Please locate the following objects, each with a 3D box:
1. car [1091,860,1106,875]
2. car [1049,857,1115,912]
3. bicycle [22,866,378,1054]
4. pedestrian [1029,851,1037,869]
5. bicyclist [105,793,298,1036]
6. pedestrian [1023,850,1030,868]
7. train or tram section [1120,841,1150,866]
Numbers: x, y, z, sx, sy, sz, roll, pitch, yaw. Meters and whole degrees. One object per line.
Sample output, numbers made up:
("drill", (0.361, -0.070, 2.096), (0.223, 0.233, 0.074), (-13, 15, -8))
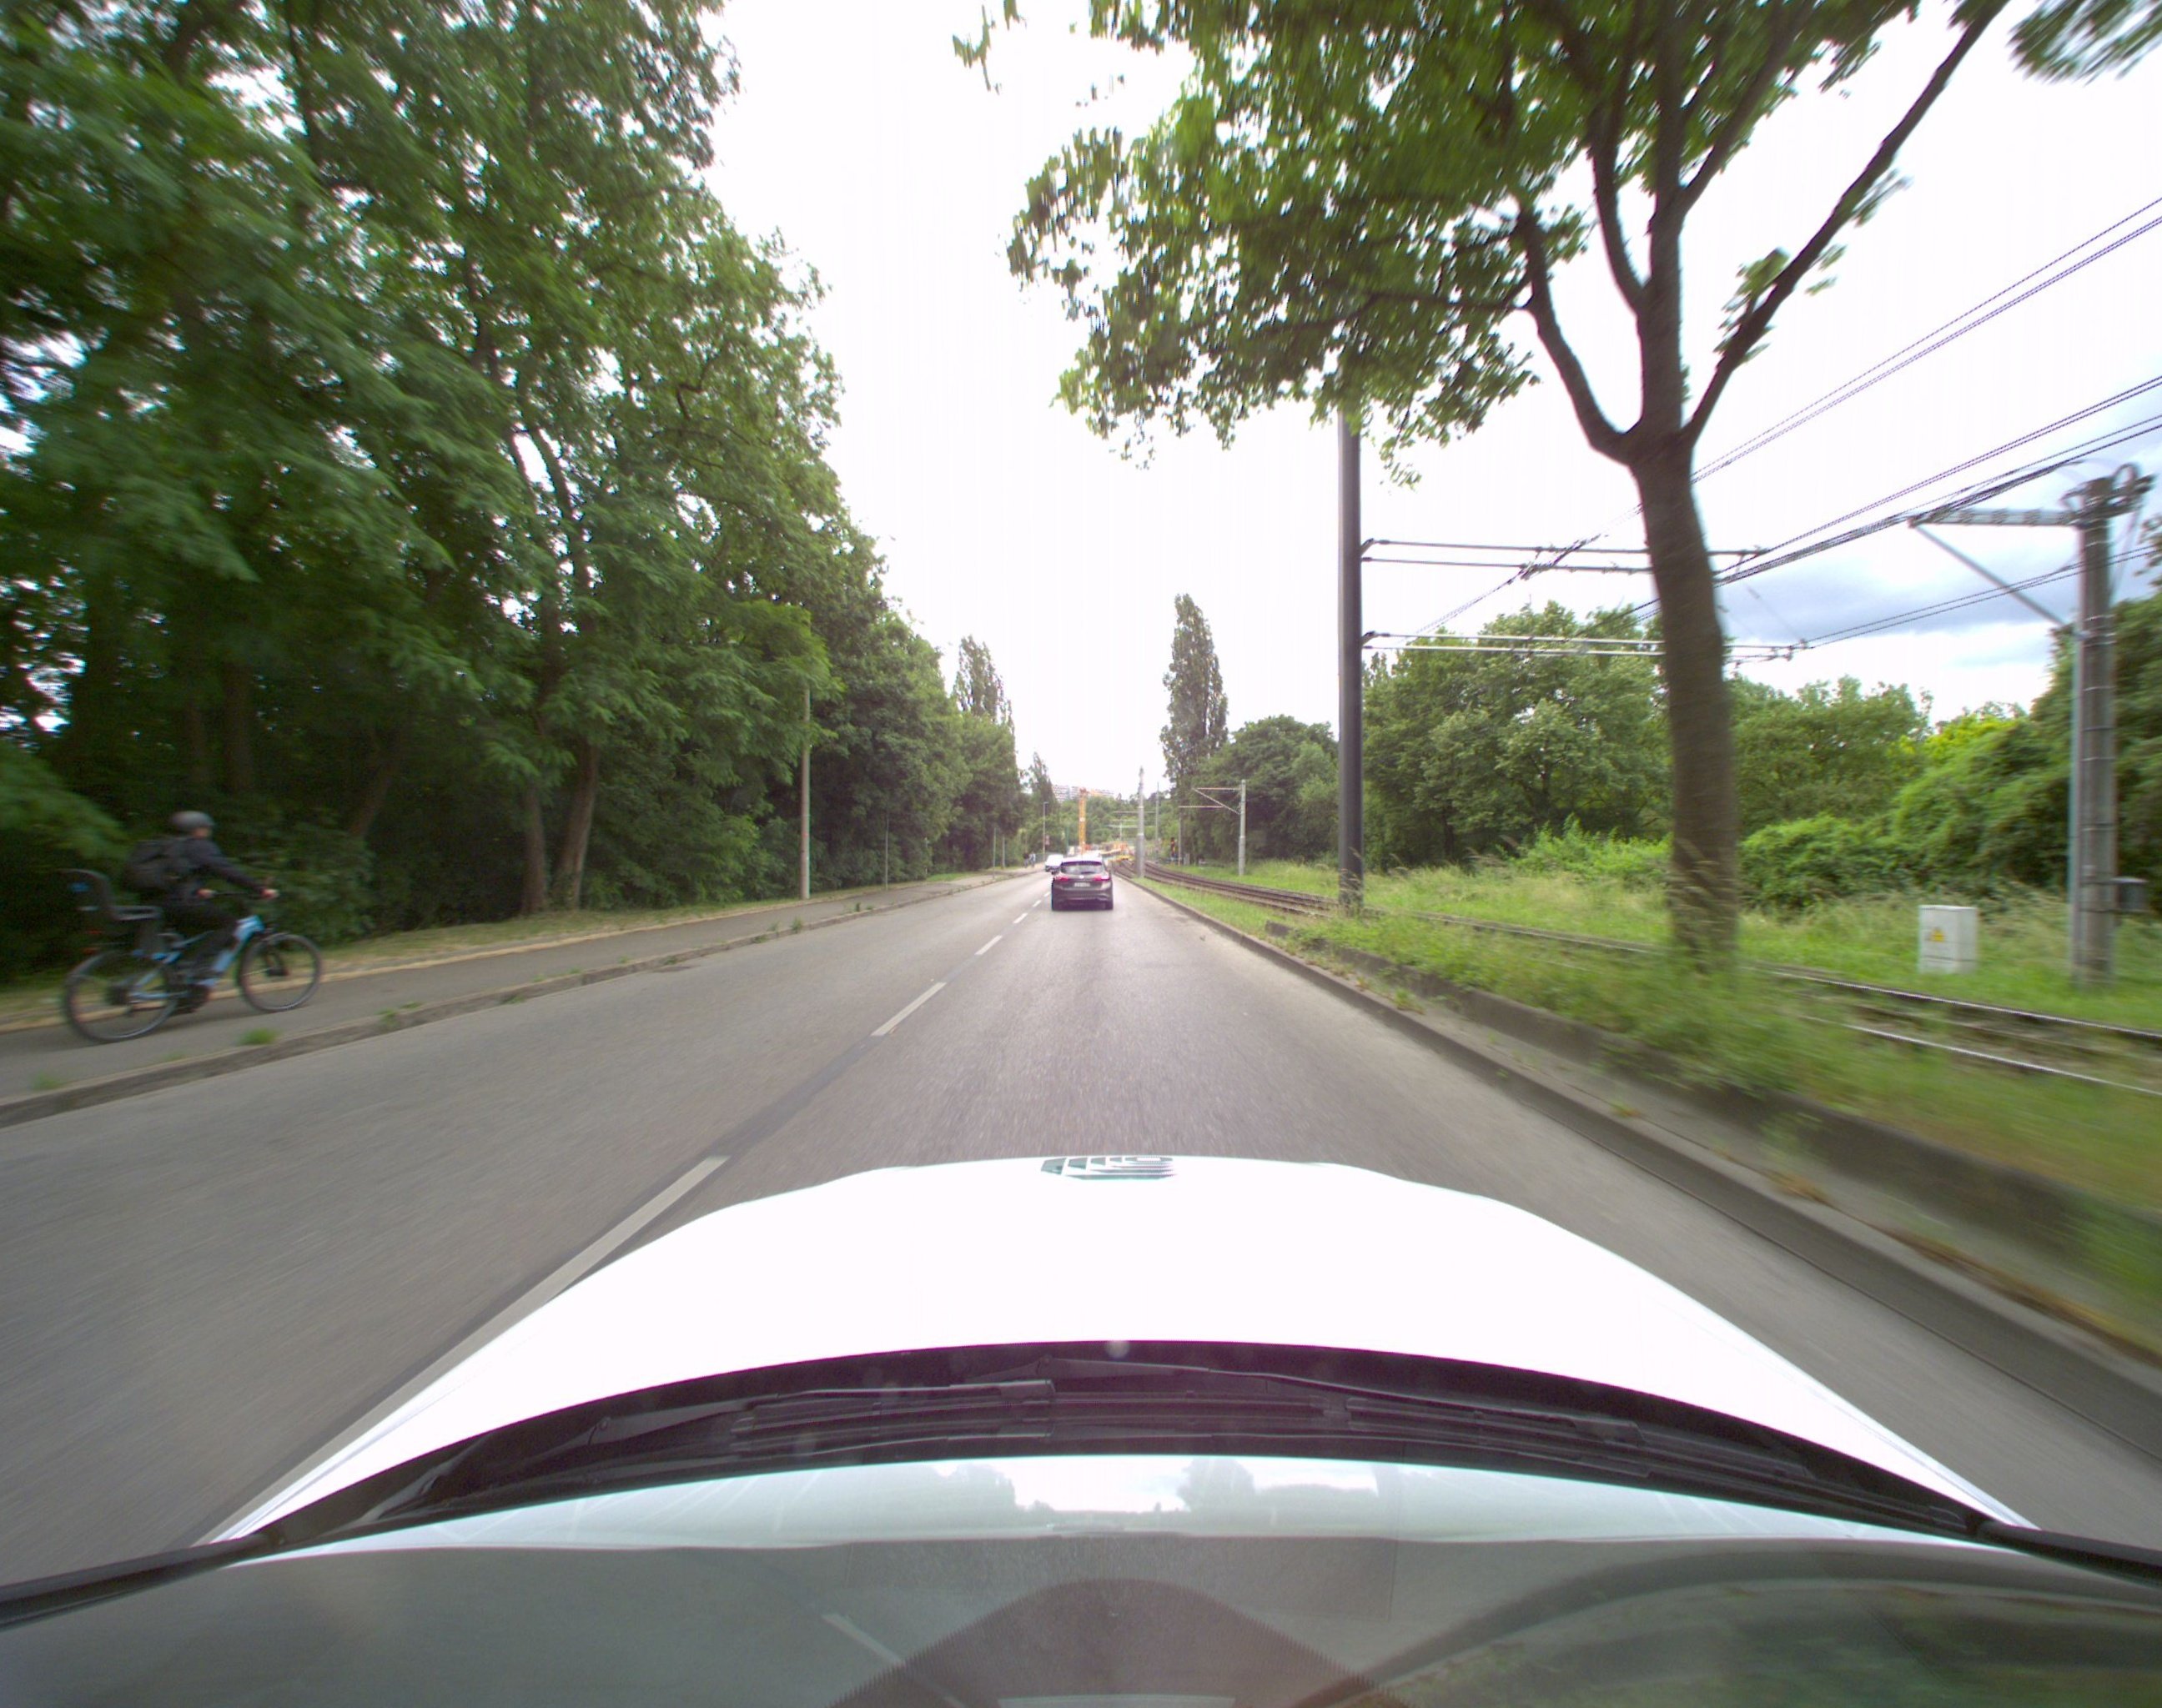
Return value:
("car", (2.012, 1.499, 93.559), (1.674, 1.606, 4.310), (1, 0, 1))
("car", (-0.012, 0.844, 24.482), (1.825, 1.510, 3.997), (0, 0, -2))
("bicycle", (-7.509, 0.805, 7.176), (0.697, 1.331, 2.278), (1, 0, -3))
("pedestrian", (-4.918, 0.584, 83.434), (0.549, 1.765, 0.858), (4, 0, 0))
("bicyclist", (-7.492, 0.490, 6.986), (0.685, 1.948, 0.835), (1, 0, -3))
("pedestrian", (-5.590, 0.512, 83.050), (0.585, 1.803, 0.822), (2, 0, 0))
("train or tram section", (13.286, 0.049, 204.429), (3.026, 5.183, 22.989), (2, -2, -8))
